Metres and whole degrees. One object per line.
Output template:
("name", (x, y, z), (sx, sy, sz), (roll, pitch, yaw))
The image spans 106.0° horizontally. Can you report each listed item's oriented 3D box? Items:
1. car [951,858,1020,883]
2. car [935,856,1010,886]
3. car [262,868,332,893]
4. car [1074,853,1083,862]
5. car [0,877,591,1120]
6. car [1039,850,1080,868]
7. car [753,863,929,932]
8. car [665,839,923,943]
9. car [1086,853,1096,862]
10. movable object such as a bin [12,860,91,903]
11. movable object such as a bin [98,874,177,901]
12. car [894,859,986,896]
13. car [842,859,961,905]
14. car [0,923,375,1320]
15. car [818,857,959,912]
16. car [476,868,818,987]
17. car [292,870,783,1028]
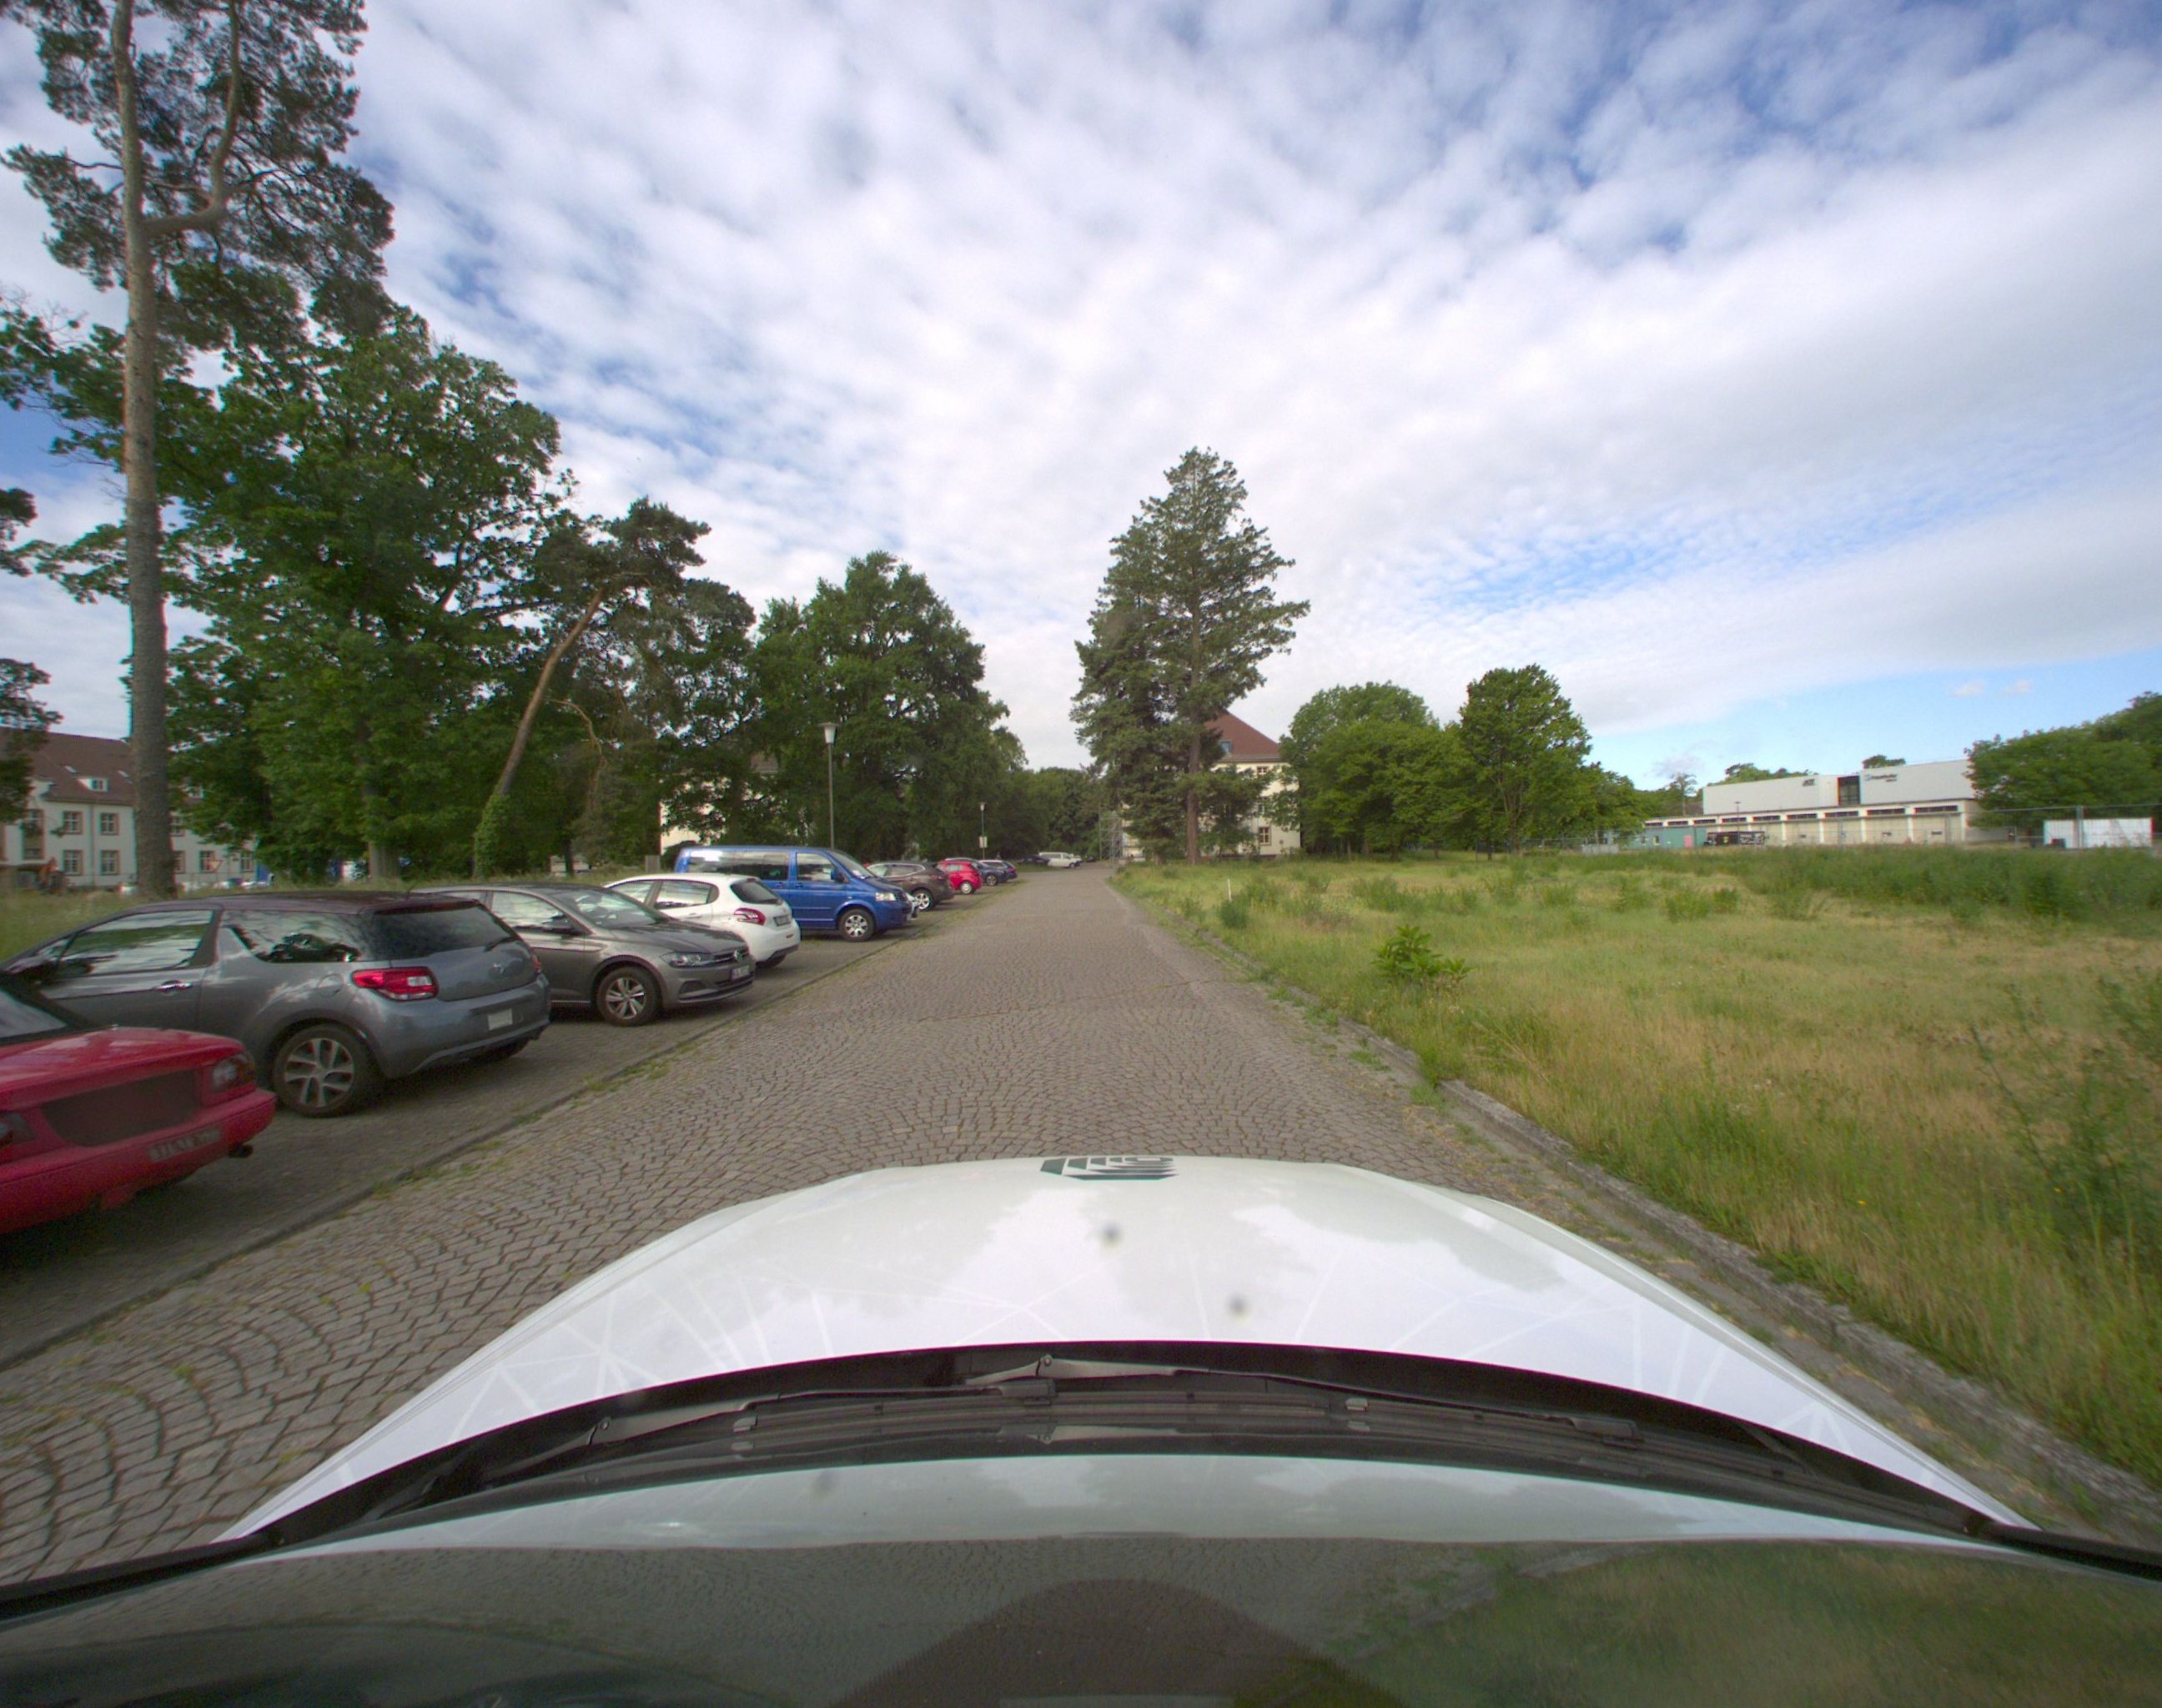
("car", (-6.000, 1.023, 51.409), (4.054, 1.467, 1.627), (-1, 0, 2))
("car", (-6.168, 0.939, 46.711), (4.061, 1.604, 1.786), (-1, 0, -3))
("car", (-69.591, 2.357, 72.397), (2.056, 2.095, 4.343), (-3, -2, -1))
("car", (-0.536, 0.792, 166.518), (1.785, 1.636, 4.057), (-2, -2, -2))
("car", (-6.319, 0.980, 6.195), (4.074, 1.480, 1.755), (-1, 0, 0))
("car", (-2.691, 0.620, 100.441), (4.965, 2.073, 2.050), (-1, -2, -2))
("car", (-5.754, 1.013, 19.869), (3.785, 1.493, 1.724), (-1, 0, -3))
("car", (-5.911, 0.737, 17.284), (4.696, 1.980, 2.037), (-1, 0, -2))
("car", (2.076, 0.678, 166.893), (1.785, 1.720, 4.057), (-2, -2, -2))
("movable object such as a bin", (-90.852, 2.431, 71.855), (6.069, 3.642, 2.150), (-2, -2, 16))
("movable object such as a bin", (-85.009, 2.983, 73.448), (4.487, 2.254, 2.382), (-2, -2, 4))
("car", (-6.254, 1.033, 36.460), (3.805, 1.489, 1.786), (-1, 0, -2))
("car", (-6.326, 0.983, 28.932), (3.804, 1.486, 1.761), (-1, 0, -1))
("car", (-5.950, 1.065, 3.555), (4.119, 1.283, 1.763), (-1, 0, -1))
("car", (-6.098, 0.947, 26.150), (4.057, 1.575, 1.953), (-1, 0, -2))
("car", (-6.196, 1.008, 11.979), (3.991, 1.501, 1.843), (-1, 0, 0))
("car", (-5.832, 0.982, 9.121), (4.289, 1.480, 1.731), (-1, 0, 0))
